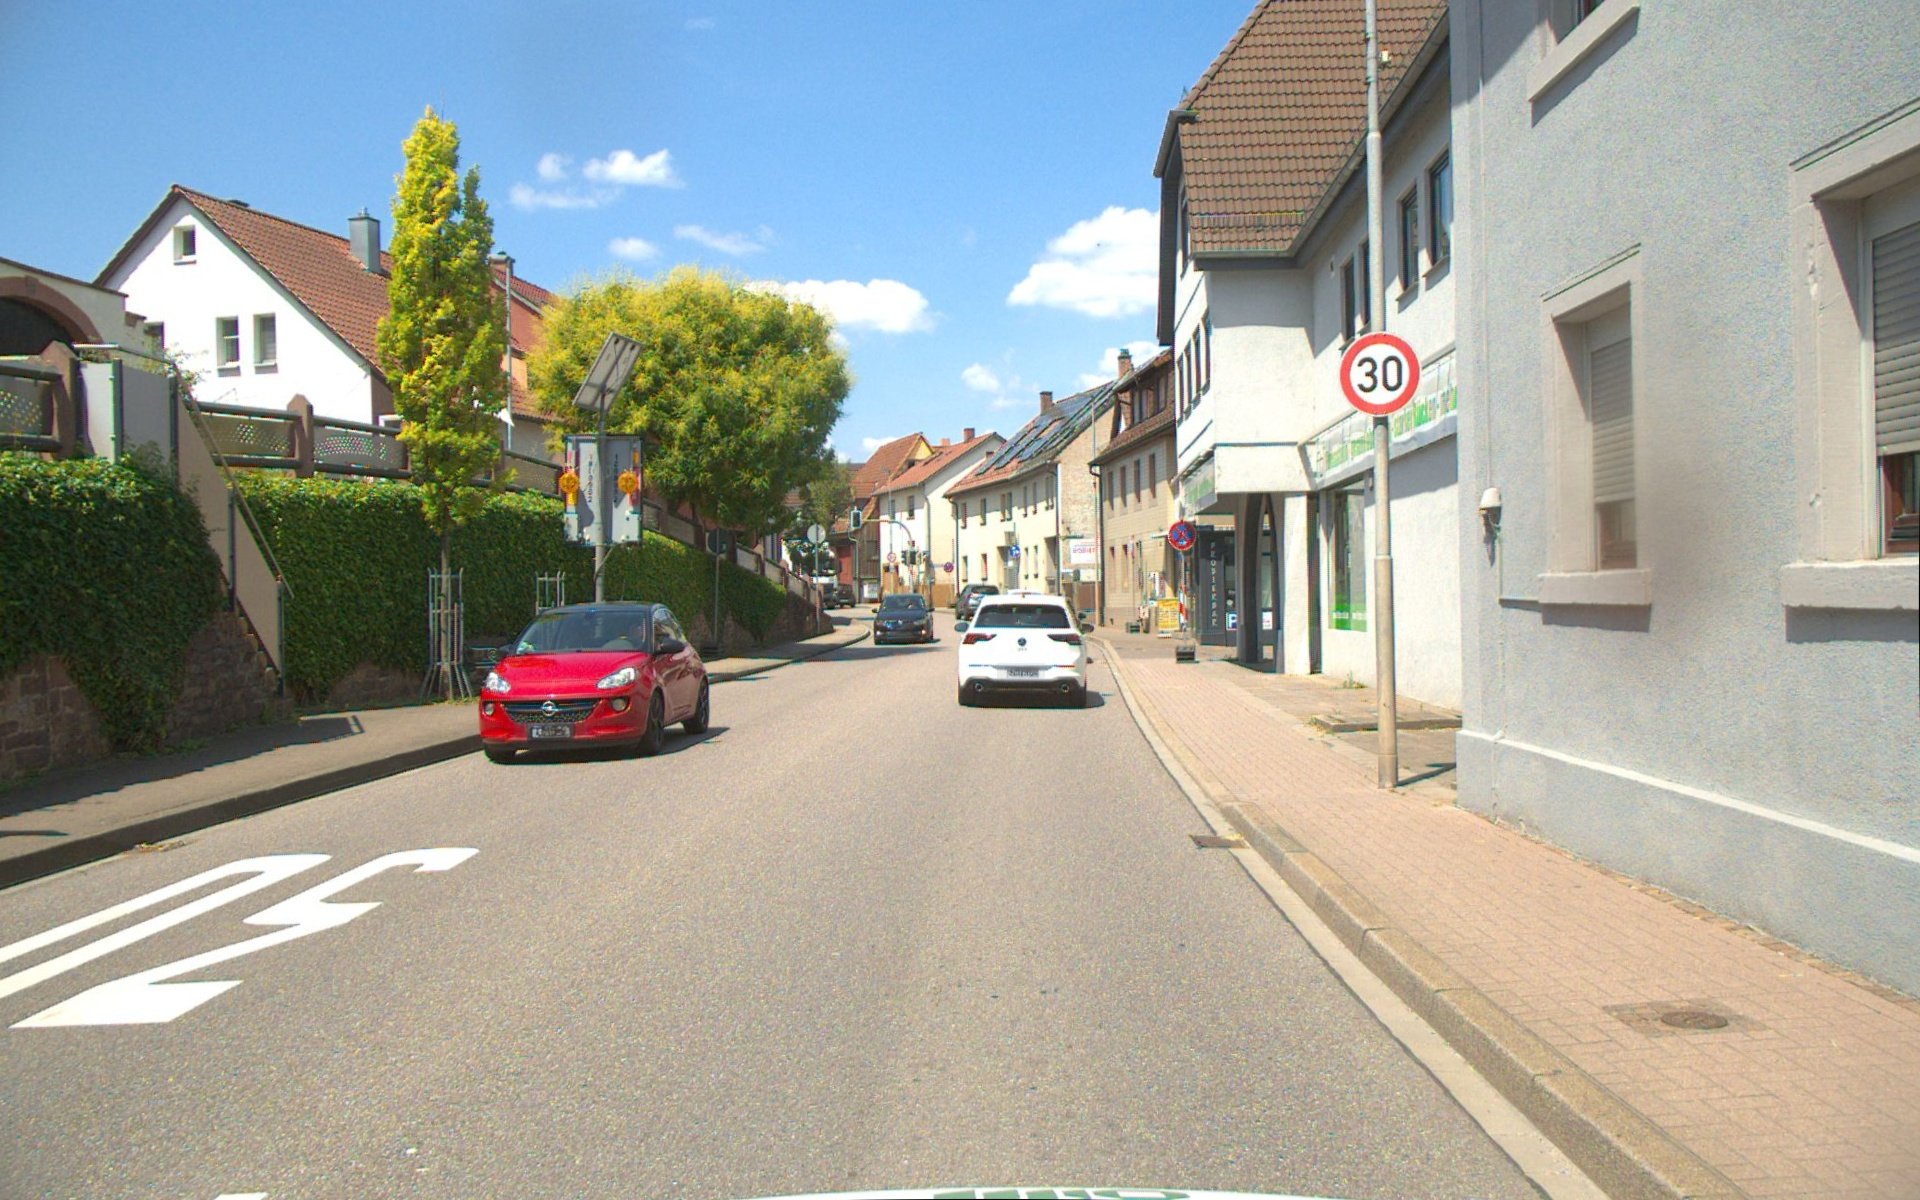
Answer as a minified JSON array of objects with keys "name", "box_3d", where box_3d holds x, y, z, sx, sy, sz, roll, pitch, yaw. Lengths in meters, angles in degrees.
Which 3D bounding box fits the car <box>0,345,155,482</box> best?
[{"name":"car","box_3d":[-10.661,-2.079,18.567,1.545,1.385,3.855,0,6,-4]}]

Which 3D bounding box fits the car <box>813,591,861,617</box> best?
[{"name":"car","box_3d":[-7.590,0.253,101.678,1.751,1.565,3.972,-1,0,-23]}]

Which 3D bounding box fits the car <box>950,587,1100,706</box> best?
[{"name":"car","box_3d":[0.827,0.608,23.138,1.771,1.493,3.998,1,0,-2]}]

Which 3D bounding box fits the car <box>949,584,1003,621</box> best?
[{"name":"car","box_3d":[0.685,0.102,72.582,1.742,1.565,3.992,-1,0,-9]}]

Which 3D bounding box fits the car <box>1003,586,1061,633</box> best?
[{"name":"car","box_3d":[2.364,0.319,54.968,1.770,1.493,4.000,1,0,0]}]

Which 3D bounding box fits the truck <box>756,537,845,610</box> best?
[{"name":"truck","box_3d":[-9.481,-1.501,97.232,2.610,4.099,9.124,0,0,-23]}]

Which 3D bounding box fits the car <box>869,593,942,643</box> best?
[{"name":"car","box_3d":[-1.567,0.517,49.022,1.756,1.401,4.118,0,0,4]}]

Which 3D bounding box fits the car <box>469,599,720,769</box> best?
[{"name":"car","box_3d":[-3.609,0.762,16.970,1.583,1.469,3.802,-2,0,2]}]
